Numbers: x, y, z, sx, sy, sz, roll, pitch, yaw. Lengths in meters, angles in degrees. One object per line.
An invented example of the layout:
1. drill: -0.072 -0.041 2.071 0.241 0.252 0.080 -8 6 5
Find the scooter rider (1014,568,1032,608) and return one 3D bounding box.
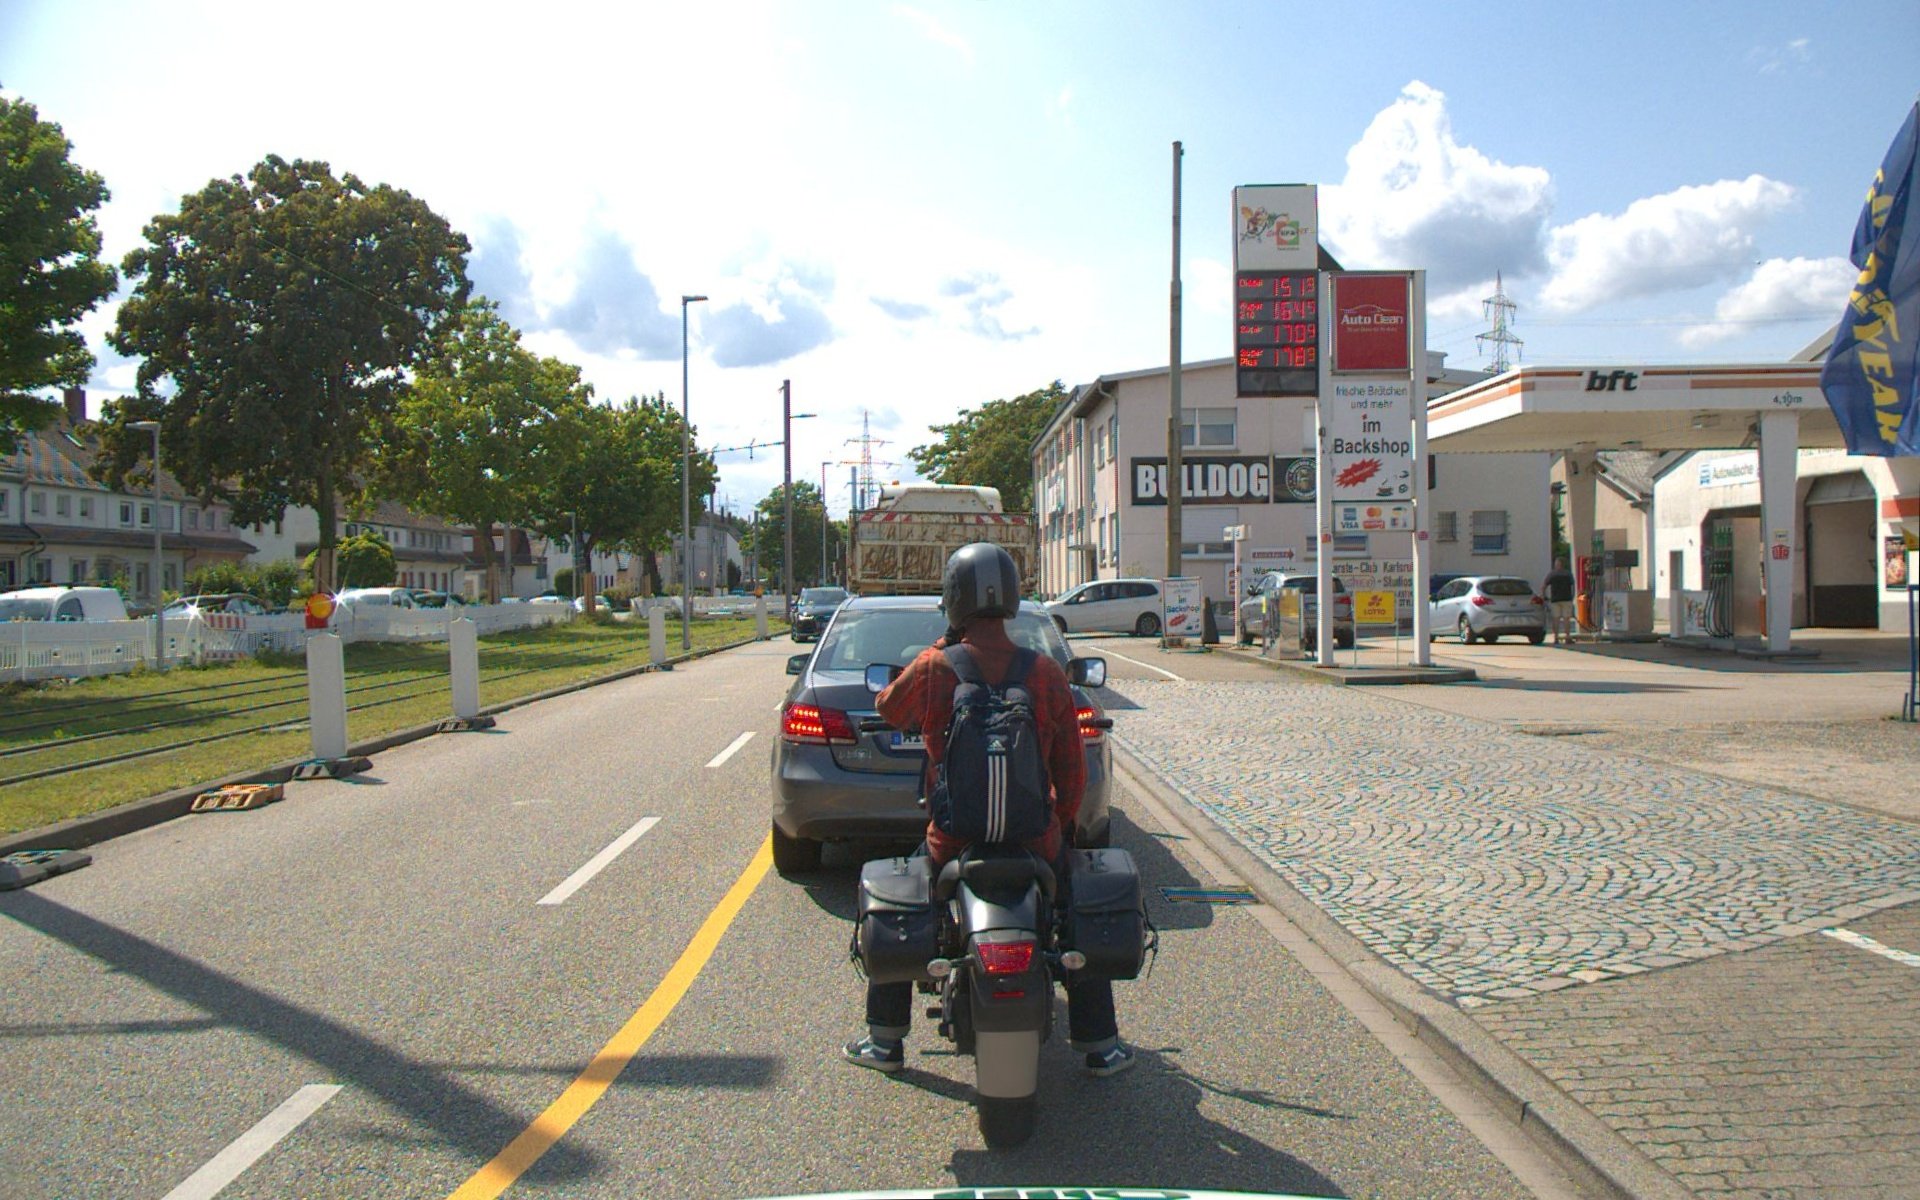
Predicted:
1. scooter rider: 2.929 -0.560 76.980 0.779 1.850 0.508 -1 0 -1

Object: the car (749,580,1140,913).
1. car: -0.131 0.664 9.713 1.795 1.505 4.008 -1 0 -2

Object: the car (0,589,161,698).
1. car: -16.414 0.744 30.290 1.664 1.849 3.860 -1 0 -1

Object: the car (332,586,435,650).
1. car: -16.889 0.494 48.612 1.664 1.770 3.860 -1 0 -1

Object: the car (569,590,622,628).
1. car: -17.490 0.410 79.523 1.664 1.770 3.860 -1 0 -1

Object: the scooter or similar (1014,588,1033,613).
1. scooter or similar: 2.940 0.016 77.012 0.779 1.165 1.519 -1 0 -1

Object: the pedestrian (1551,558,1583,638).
1. pedestrian: 13.138 -0.045 35.789 0.621 1.712 0.622 -1 0 20

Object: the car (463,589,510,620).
1. car: -28.061 0.263 98.141 1.664 1.770 4.061 -1 0 -1

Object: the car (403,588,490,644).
1. car: -17.017 0.499 54.977 1.664 1.770 3.860 -1 0 -1

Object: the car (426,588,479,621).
1. car: -28.181 0.248 91.930 1.664 1.770 4.061 -1 0 -1

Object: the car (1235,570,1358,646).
1. car: 7.405 0.144 36.752 1.795 1.562 4.008 -1 0 -2

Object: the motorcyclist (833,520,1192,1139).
1. motorcyclist: 0.133 0.617 5.072 0.950 1.662 1.214 1 0 -1

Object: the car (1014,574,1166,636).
1. car: 3.673 0.120 47.081 4.029 1.652 1.682 -1 0 -9

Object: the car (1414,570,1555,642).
1. car: 11.775 0.104 37.417 1.795 1.505 4.008 -1 0 -2

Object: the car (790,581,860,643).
1. car: -3.864 0.311 46.861 1.649 1.652 4.110 -1 0 -9

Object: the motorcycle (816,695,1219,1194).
1. motorcycle: 0.122 0.900 5.191 0.956 1.031 2.431 1 0 -1

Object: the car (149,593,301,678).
1. car: -16.669 0.759 37.713 1.664 1.770 4.053 -1 0 -1

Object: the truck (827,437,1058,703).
1. truck: -0.352 -0.421 25.465 2.910 3.362 8.404 -1 0 -2

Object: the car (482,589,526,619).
1. car: -28.665 0.234 104.143 1.664 1.770 4.061 -1 0 -1
